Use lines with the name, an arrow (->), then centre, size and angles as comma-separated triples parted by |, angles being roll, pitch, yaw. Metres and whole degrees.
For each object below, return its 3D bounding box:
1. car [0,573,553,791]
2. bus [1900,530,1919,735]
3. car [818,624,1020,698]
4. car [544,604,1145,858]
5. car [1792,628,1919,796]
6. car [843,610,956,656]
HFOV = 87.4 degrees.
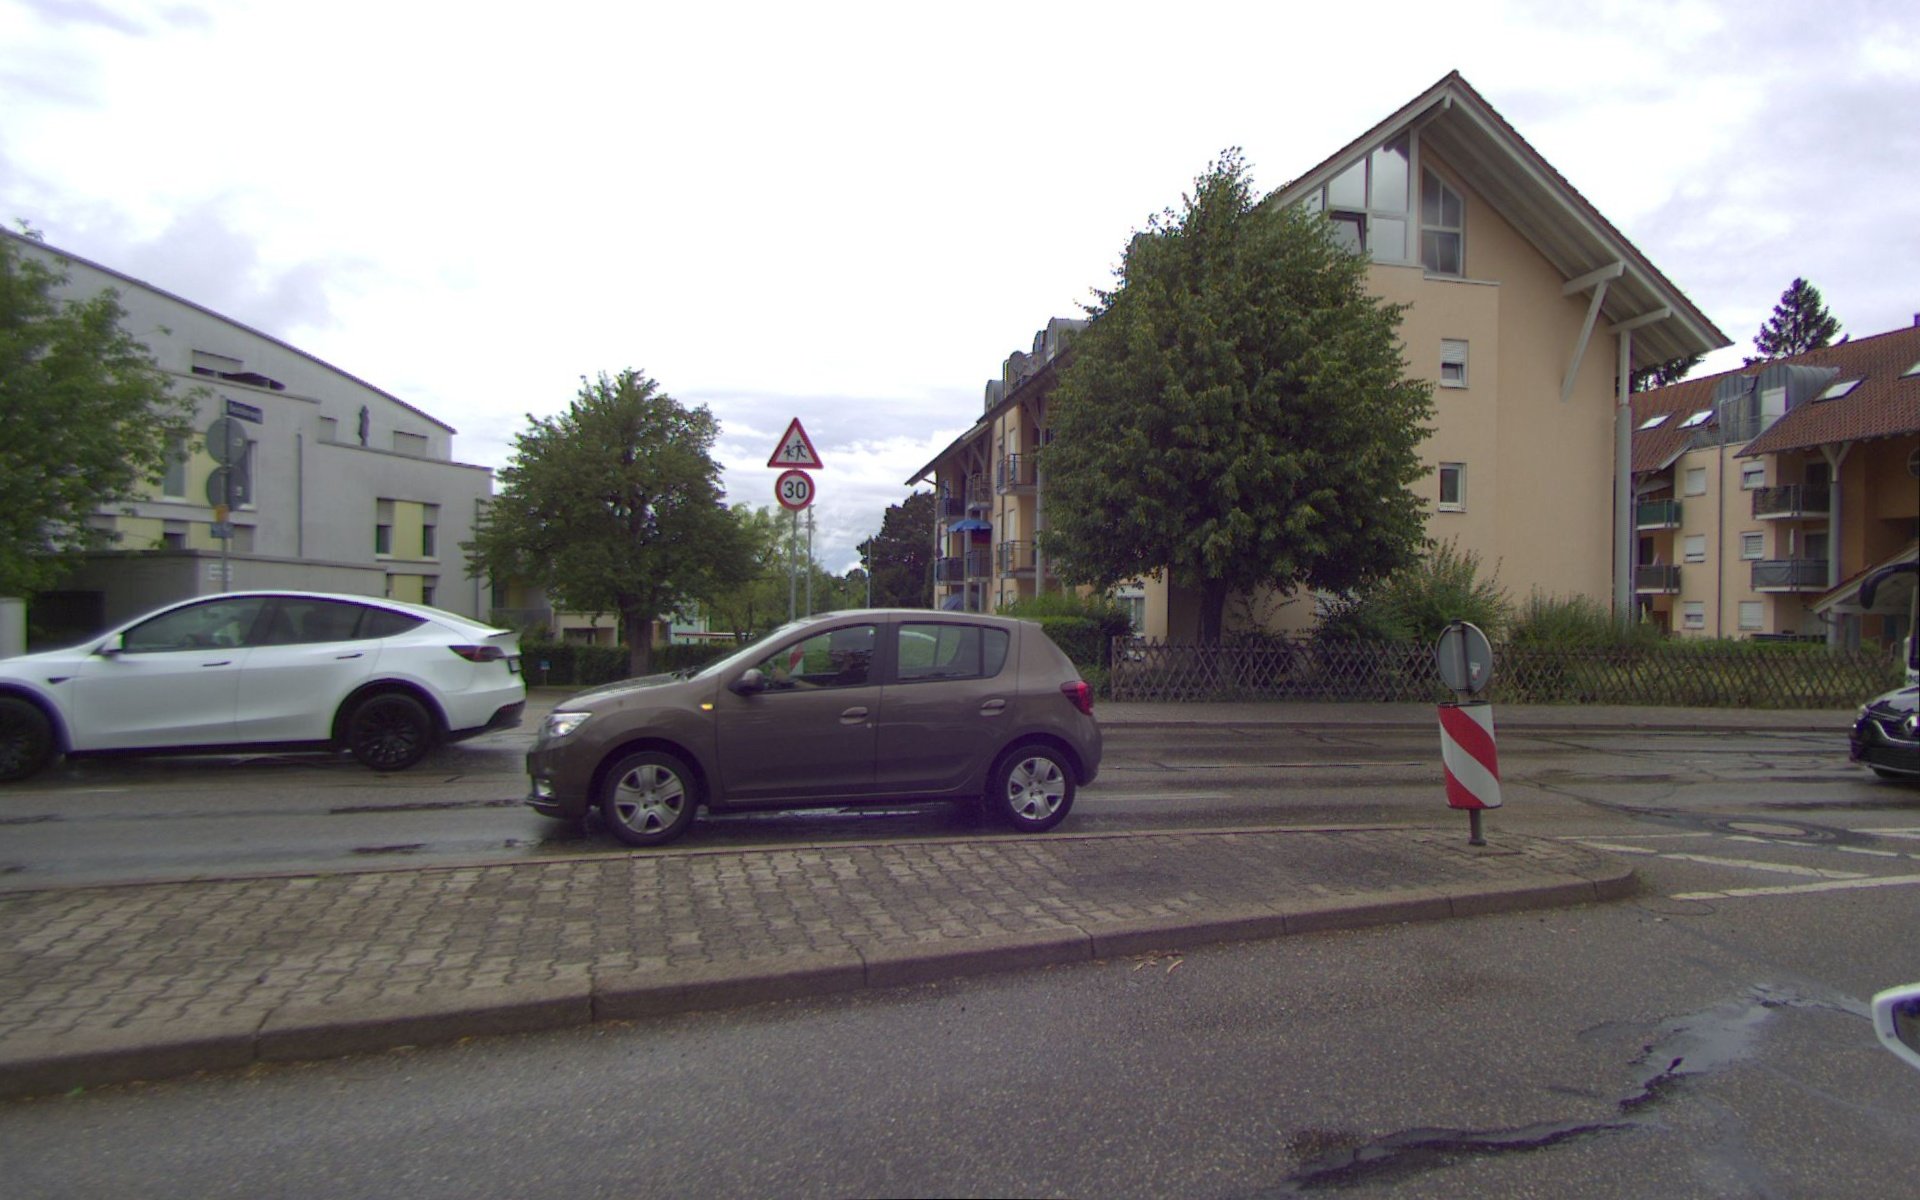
car -> -6.435, 0.691, 9.503 | 4.524, 1.748, 1.948 | 1, 1, -15
bus -> 18.720, 0.516, 13.912 | 9.022, 3.039, 2.555 | 1, -2, 0
car -> -0.890, 1.303, 21.511 | 4.123, 1.458, 1.821 | 1, -2, -6
car -> -0.813, 0.849, 7.361 | 3.872, 1.506, 1.823 | 1, -2, -15
car -> 10.803, 1.076, 9.718 | 4.096, 1.539, 1.955 | 1, -2, -7
car -> -3.440, 1.841, 56.351 | 5.915, 2.230, 2.847 | 3, -1, -11
